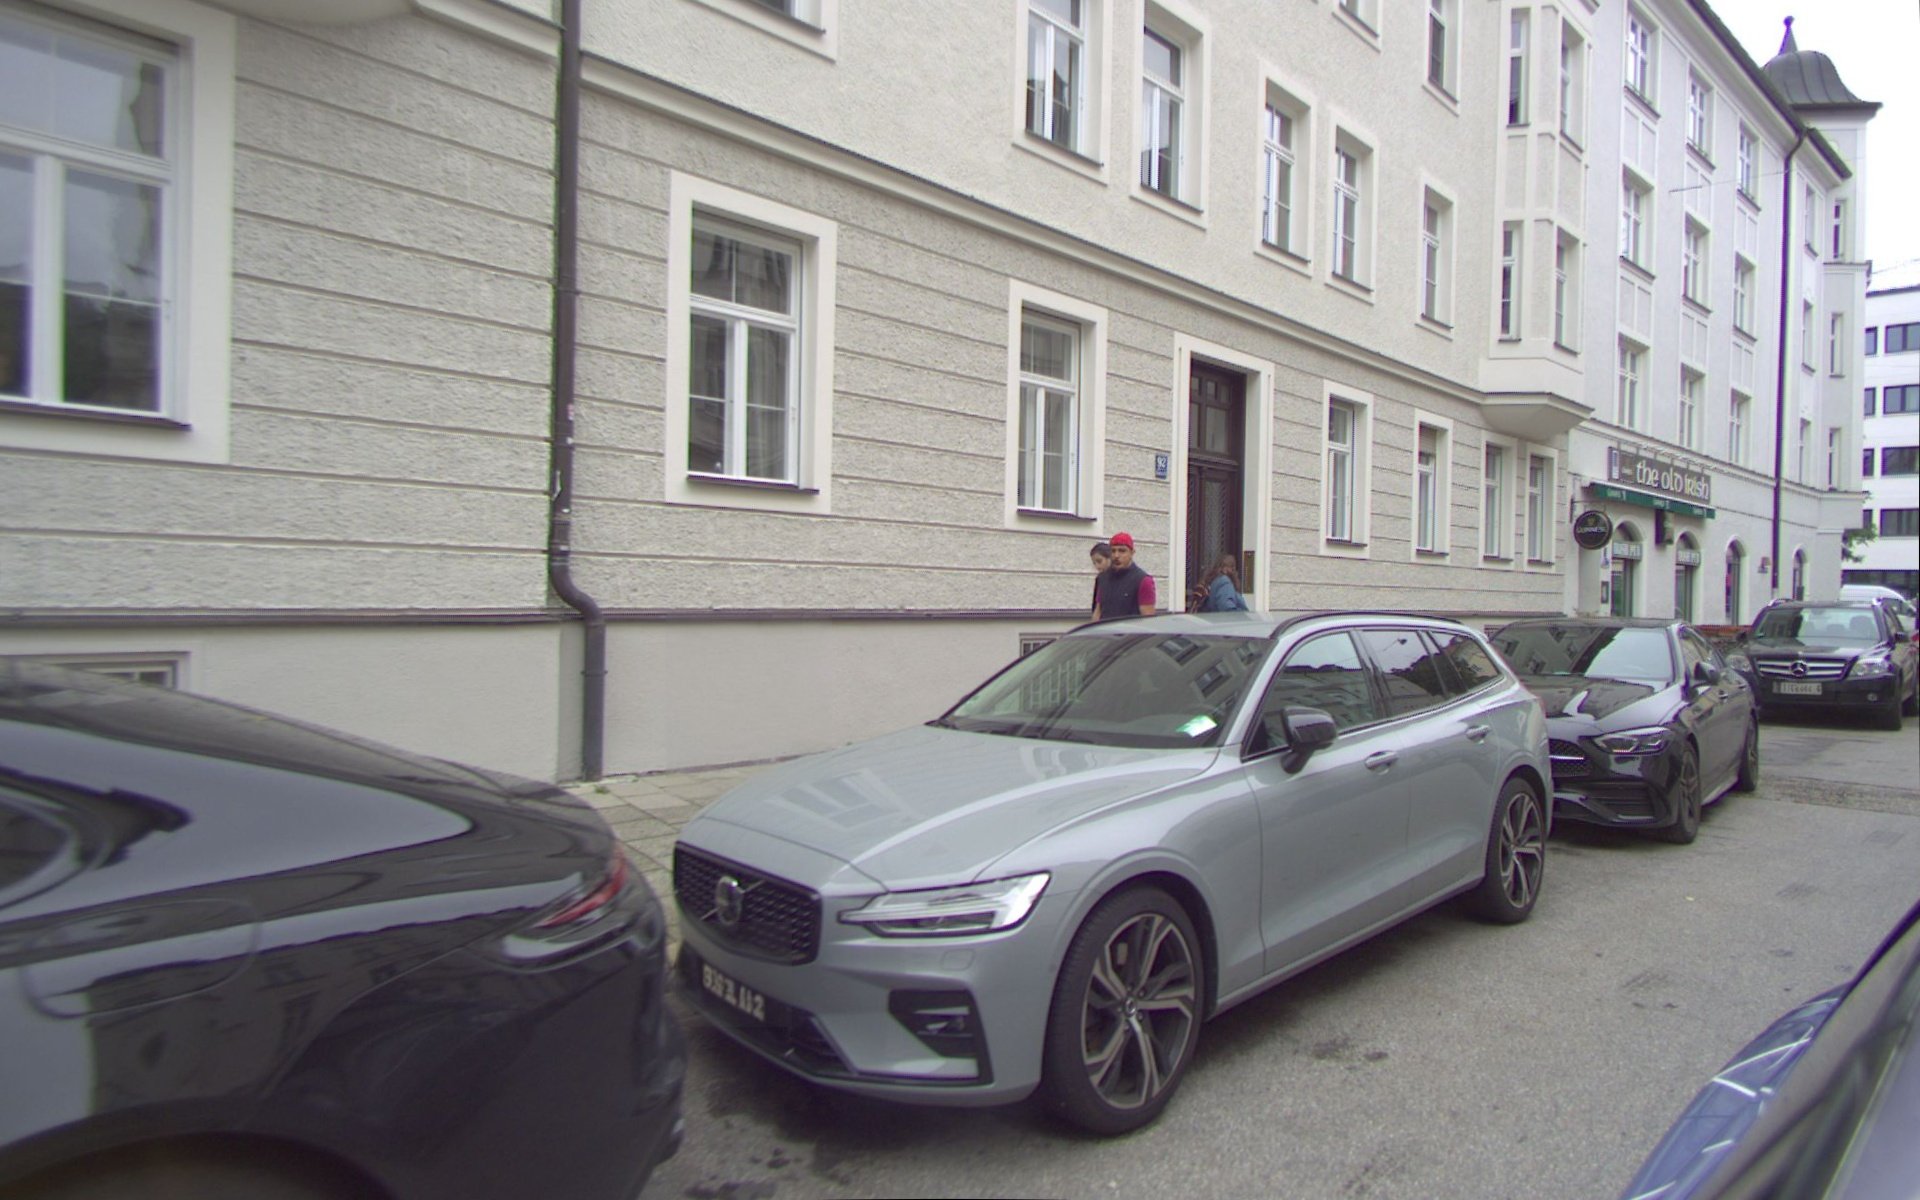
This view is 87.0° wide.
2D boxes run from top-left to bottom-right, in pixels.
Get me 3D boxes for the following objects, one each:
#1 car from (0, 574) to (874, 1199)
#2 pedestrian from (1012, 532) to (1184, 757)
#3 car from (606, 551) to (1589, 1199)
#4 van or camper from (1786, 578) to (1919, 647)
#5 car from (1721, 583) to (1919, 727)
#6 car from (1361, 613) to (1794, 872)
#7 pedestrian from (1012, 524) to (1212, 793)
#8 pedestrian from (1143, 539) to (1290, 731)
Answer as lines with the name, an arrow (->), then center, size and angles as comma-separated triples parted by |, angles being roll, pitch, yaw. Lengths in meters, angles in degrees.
car -> -2.537, 0.694, 1.193 | 4.634, 1.476, 1.995 | 0, 1, -44
pedestrian -> 1.180, 0.347, 8.749 | 1.088, 1.808, 0.888 | 2, 2, -27
car -> 0.956, 0.690, 4.343 | 4.343, 1.505, 1.763 | 1, -2, -41
van or camper -> 39.212, 0.530, 43.335 | 5.849, 2.749, 2.268 | 2, -2, 43
car -> 12.104, 0.680, 13.970 | 4.117, 1.696, 1.802 | 1, -2, -42
car -> 5.089, 0.826, 7.966 | 1.837, 1.417, 4.893 | -1, -1, 45
pedestrian -> 1.111, 0.391, 7.525 | 1.088, 1.834, 0.888 | 2, 2, -25
pedestrian -> 2.671, 0.328, 10.546 | 1.091, 1.835, 0.885 | 1, 4, -40
